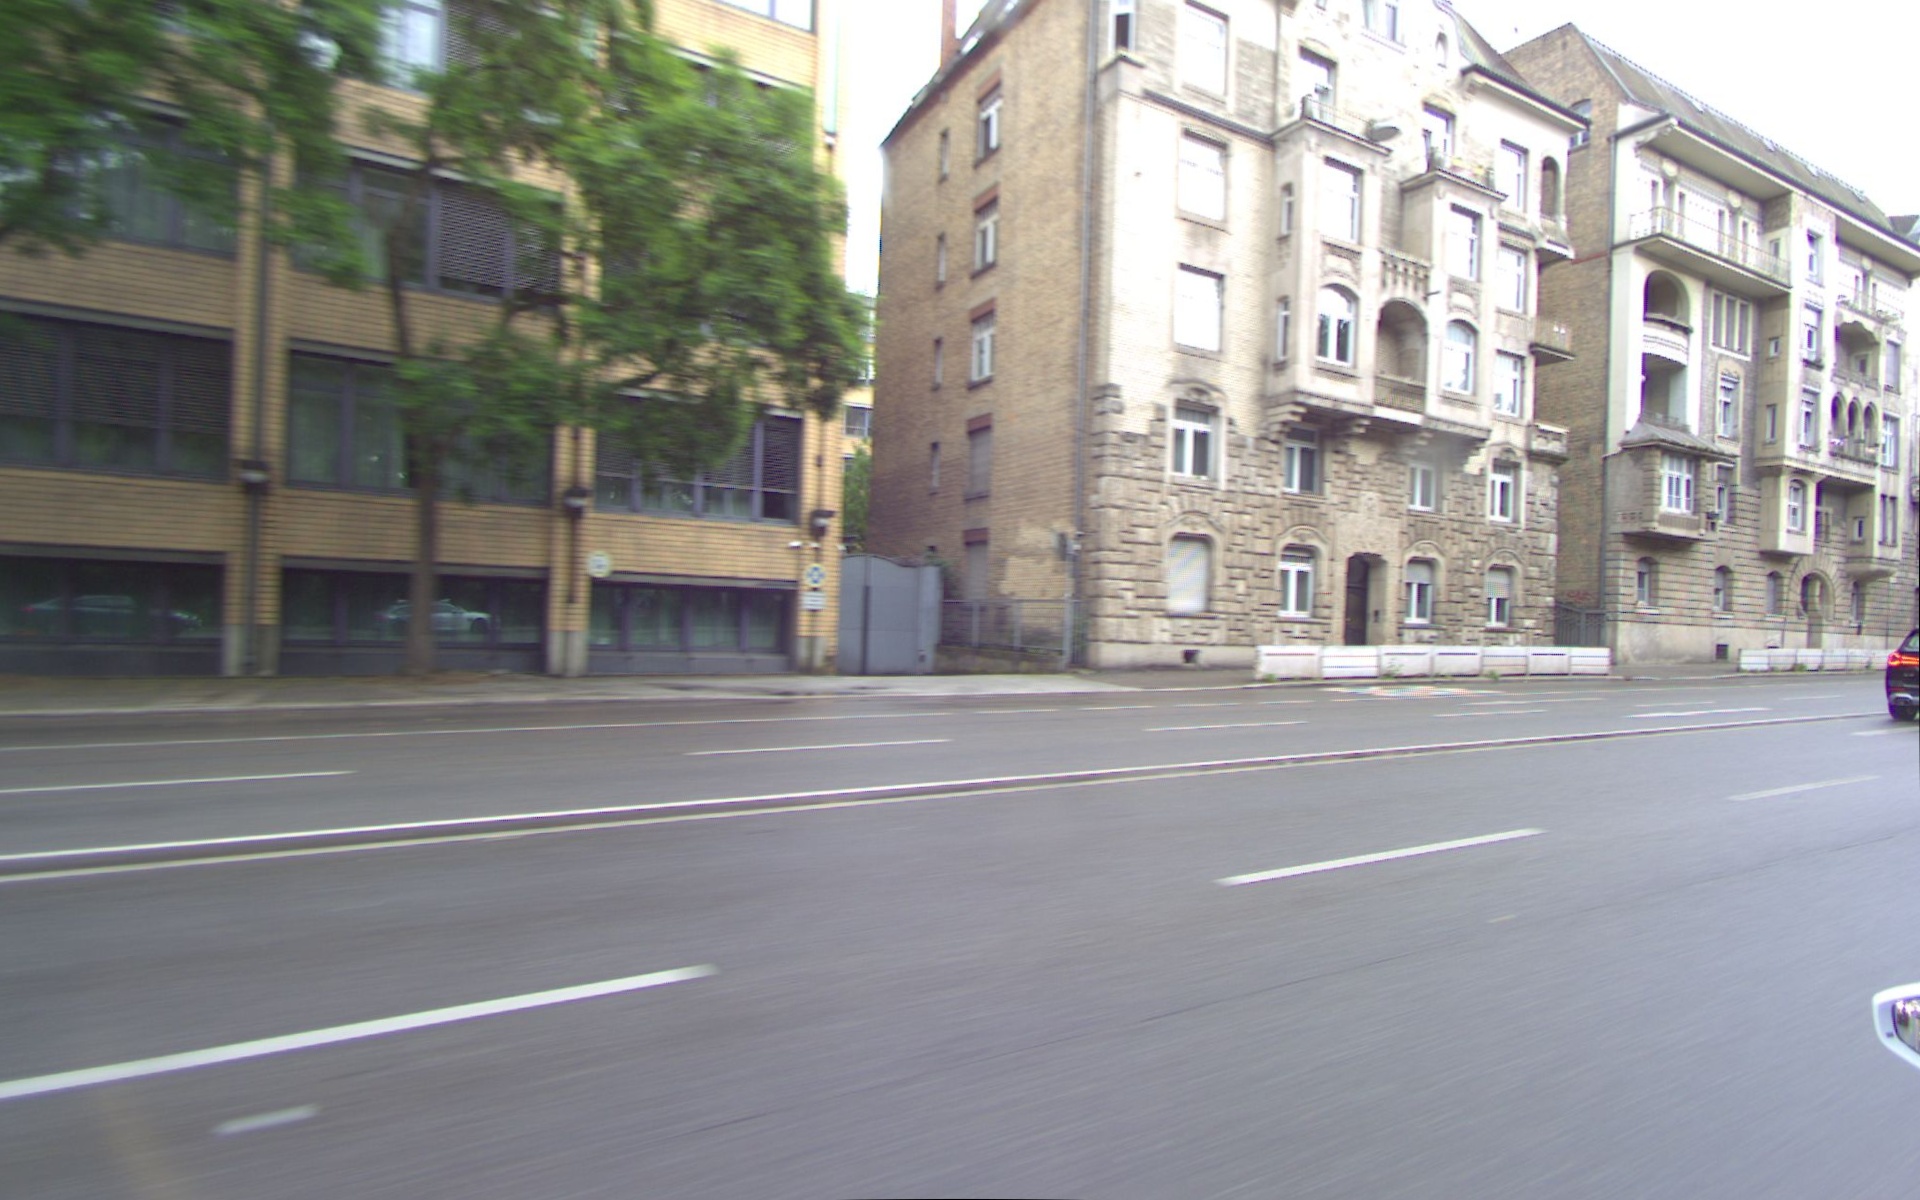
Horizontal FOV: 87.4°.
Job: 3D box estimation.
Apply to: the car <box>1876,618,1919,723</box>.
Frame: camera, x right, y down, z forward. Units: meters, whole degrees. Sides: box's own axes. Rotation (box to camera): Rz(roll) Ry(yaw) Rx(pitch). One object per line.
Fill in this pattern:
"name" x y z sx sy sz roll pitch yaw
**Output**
"car" 16.865 1.158 16.299 4.362 1.607 1.749 2 0 -31
